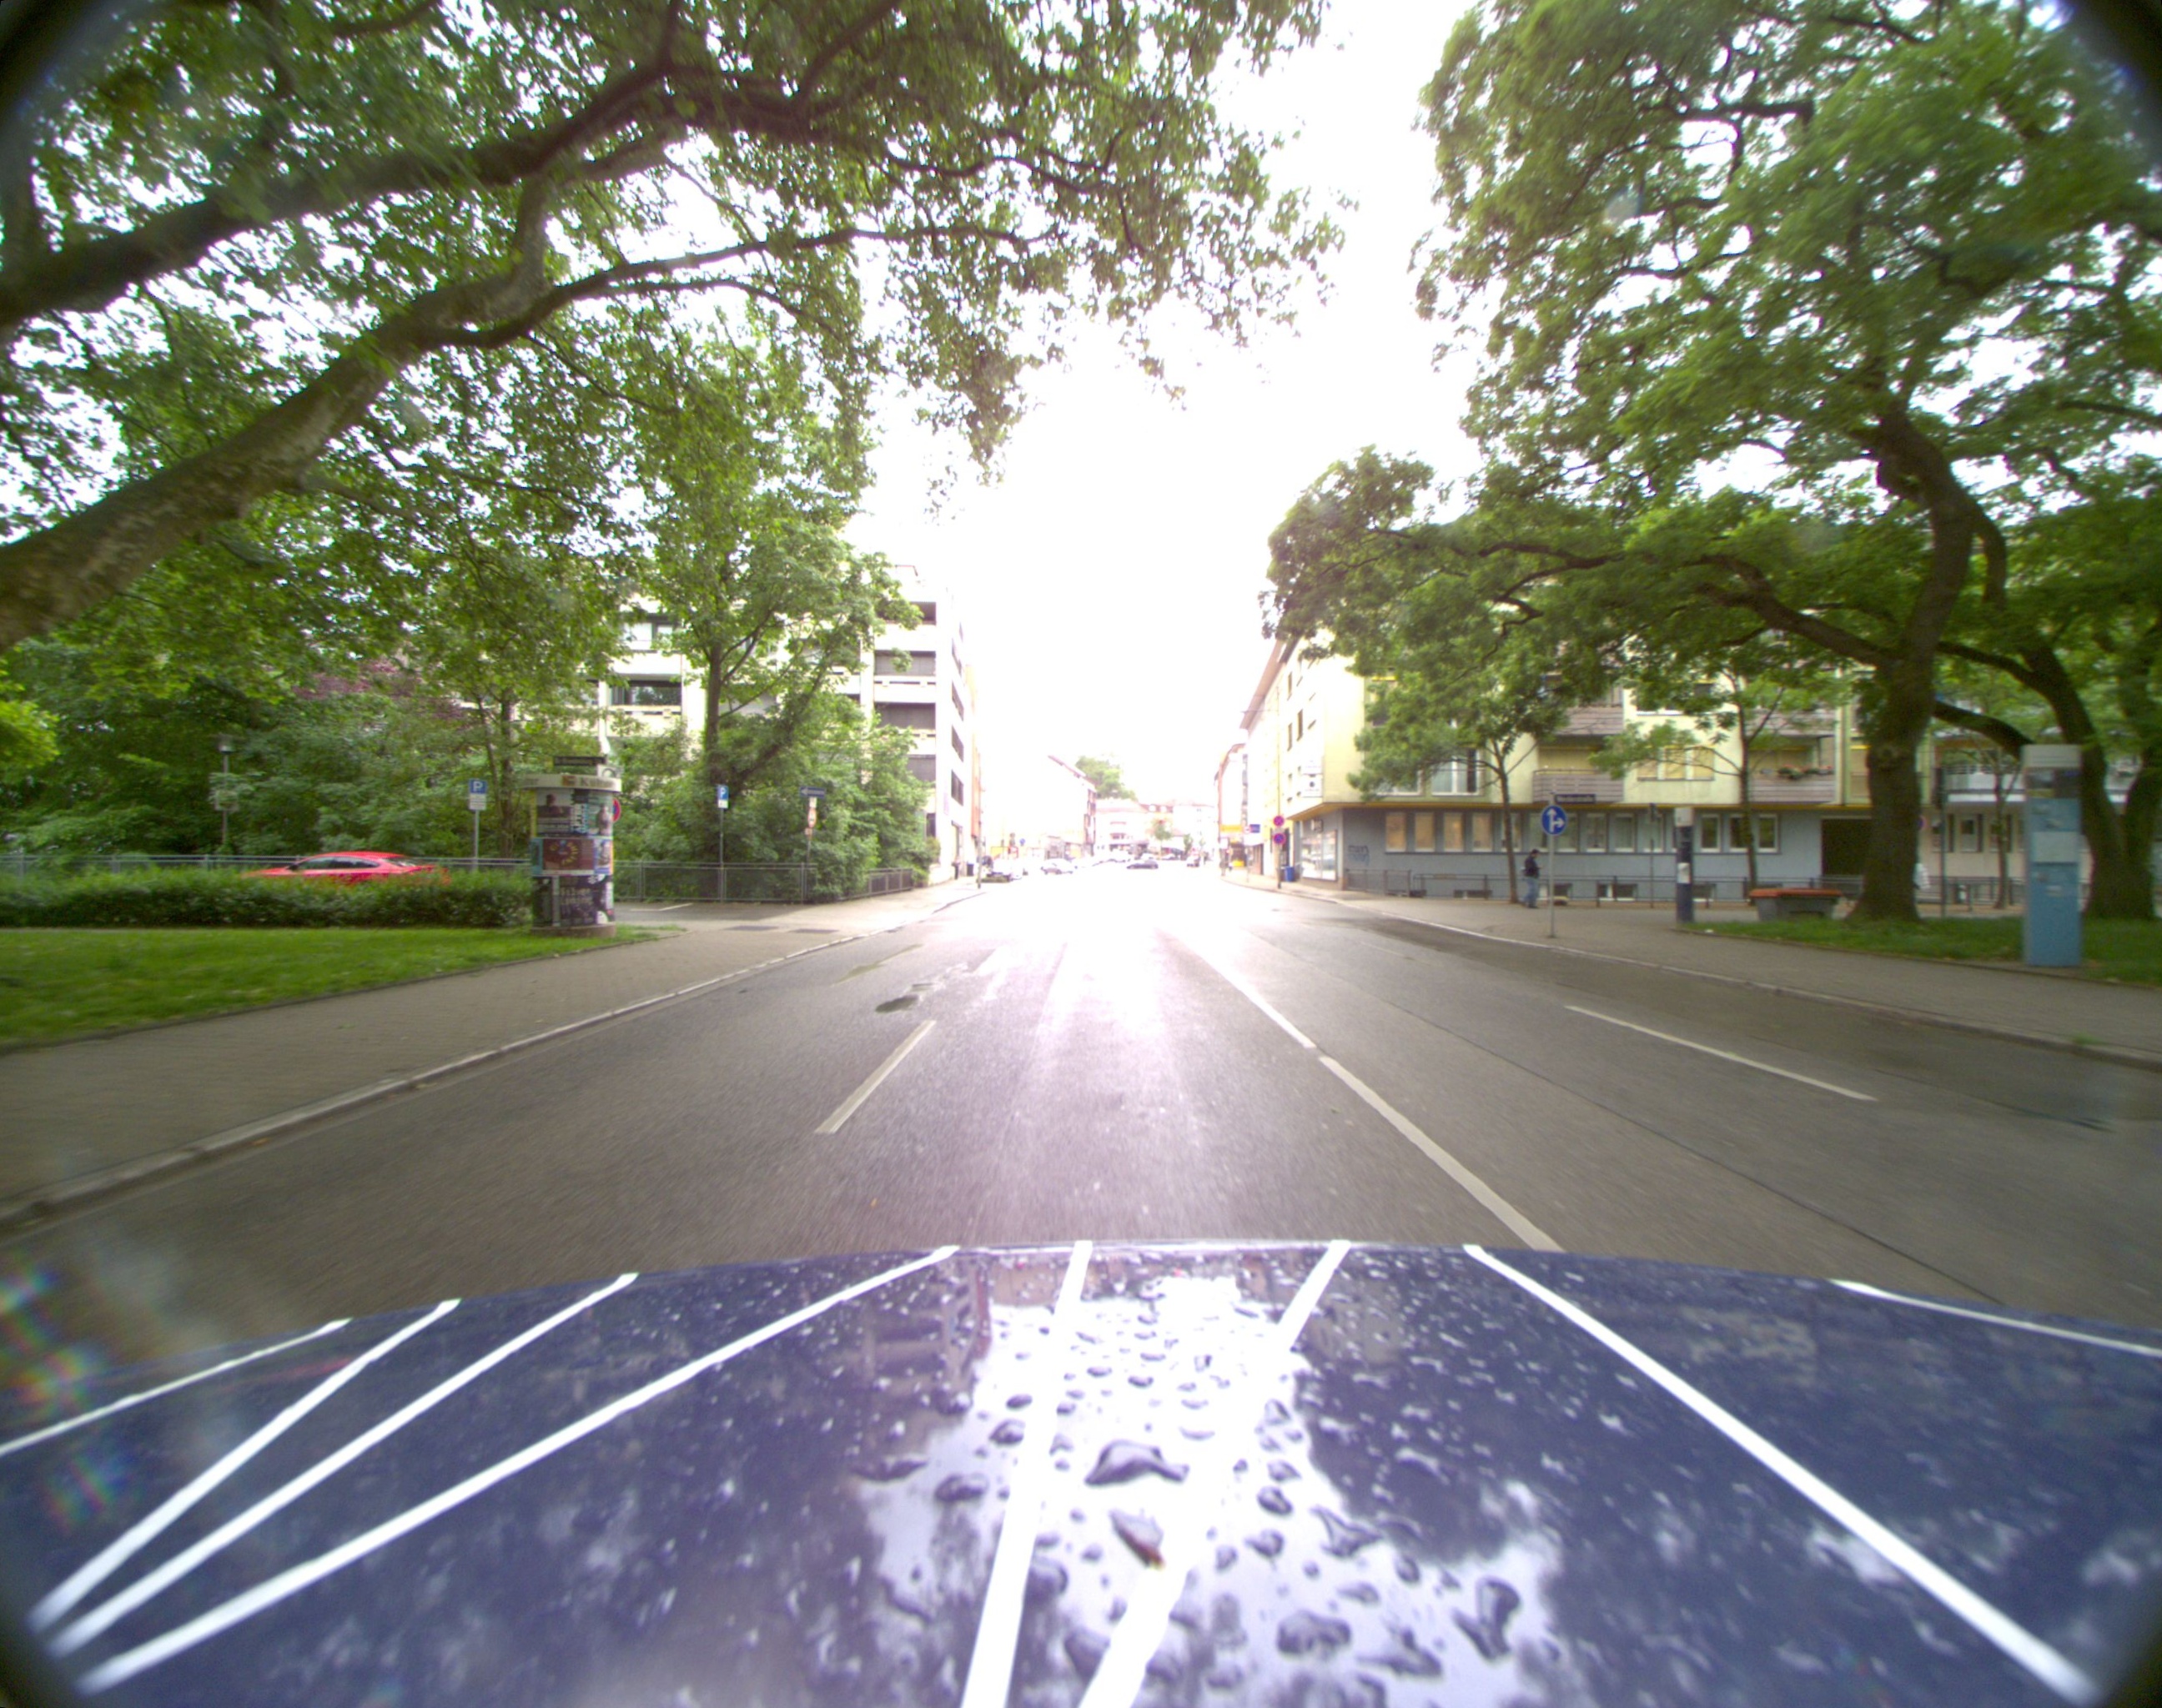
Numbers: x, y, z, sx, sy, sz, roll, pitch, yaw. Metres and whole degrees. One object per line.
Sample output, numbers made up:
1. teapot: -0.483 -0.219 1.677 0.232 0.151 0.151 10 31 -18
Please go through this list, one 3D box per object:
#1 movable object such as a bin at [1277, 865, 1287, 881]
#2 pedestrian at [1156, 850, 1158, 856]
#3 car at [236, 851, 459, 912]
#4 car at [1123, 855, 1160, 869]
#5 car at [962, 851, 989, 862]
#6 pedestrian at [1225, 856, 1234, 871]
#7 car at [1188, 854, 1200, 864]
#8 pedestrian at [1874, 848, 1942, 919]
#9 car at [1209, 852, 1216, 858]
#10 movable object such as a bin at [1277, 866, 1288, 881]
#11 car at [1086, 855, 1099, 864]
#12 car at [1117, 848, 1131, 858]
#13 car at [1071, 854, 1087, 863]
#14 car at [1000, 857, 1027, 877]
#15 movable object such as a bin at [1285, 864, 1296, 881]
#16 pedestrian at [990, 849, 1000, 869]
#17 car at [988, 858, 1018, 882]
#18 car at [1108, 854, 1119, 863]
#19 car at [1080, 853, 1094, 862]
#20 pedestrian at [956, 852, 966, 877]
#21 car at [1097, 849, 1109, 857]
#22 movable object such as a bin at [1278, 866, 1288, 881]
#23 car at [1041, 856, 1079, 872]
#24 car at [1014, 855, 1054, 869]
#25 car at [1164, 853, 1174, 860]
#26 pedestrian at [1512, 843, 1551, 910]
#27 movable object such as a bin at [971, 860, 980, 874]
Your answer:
1. movable object such as a bin: 12.852 1.214 48.614 0.465 0.922 0.428 -4 0 8
2. pedestrian: 18.183 -0.223 181.938 0.379 1.283 0.401 0 1 38
3. car: -19.573 0.716 20.452 3.999 1.473 1.875 1 1 -5
4. car: 7.574 0.970 95.008 4.560 1.559 1.758 -2 0 4
5. car: -16.627 0.368 120.145 3.783 1.701 1.842 0 0 20
6. pedestrian: 15.637 0.965 80.174 0.785 1.578 0.674 -2 0 21
7. car: 17.865 0.794 120.176 1.834 1.612 4.003 0 0 10
8. pedestrian: 22.530 0.788 20.718 0.918 1.913 0.820 0 0 6
9. car: 33.203 0.200 192.141 1.591 1.518 3.492 0 0 14
10. movable object such as a bin: 12.741 1.219 48.093 0.529 0.922 0.426 -4 0 7
11. car: 2.006 0.883 126.941 1.736 1.389 3.744 0 0 8
12. car: 8.225 -0.130 145.623 2.015 1.754 4.767 1 0 10
13. car: -0.273 0.636 111.996 1.736 1.389 3.744 0 0 8
14. car: -5.211 0.980 59.113 1.835 1.412 4.569 1 0 -1
15. movable object such as a bin: 12.969 1.141 47.018 0.529 0.955 0.435 -4 0 7
16. pedestrian: -9.282 0.571 82.071 0.806 2.140 0.737 0 1 -23
17. car: -5.377 1.101 52.625 1.706 1.549 3.804 1 0 -1
18. car: 6.762 0.890 155.843 1.670 1.761 4.004 1 0 11
19. car: 1.020 0.605 120.272 1.736 1.389 3.744 0 0 8
20. pedestrian: -8.071 0.722 51.116 0.599 1.650 0.691 3 0 -7
21. car: 4.107 -0.146 142.410 1.736 1.389 3.744 0 0 8
22. movable object such as a bin: 12.665 1.211 47.595 0.529 0.890 0.435 -4 0 7
23. car: -2.184 1.078 79.210 1.761 1.559 3.989 -2 0 -42
24. car: -5.662 0.926 92.233 4.687 1.559 1.758 -2 0 2
25. car: 21.300 0.580 183.077 1.749 1.754 4.058 1 0 15
26. pedestrian: 13.718 0.671 23.162 0.754 2.002 0.780 0 1 -36
27. movable object such as a bin: -8.568 1.069 61.539 0.681 1.097 0.514 0 0 -2
